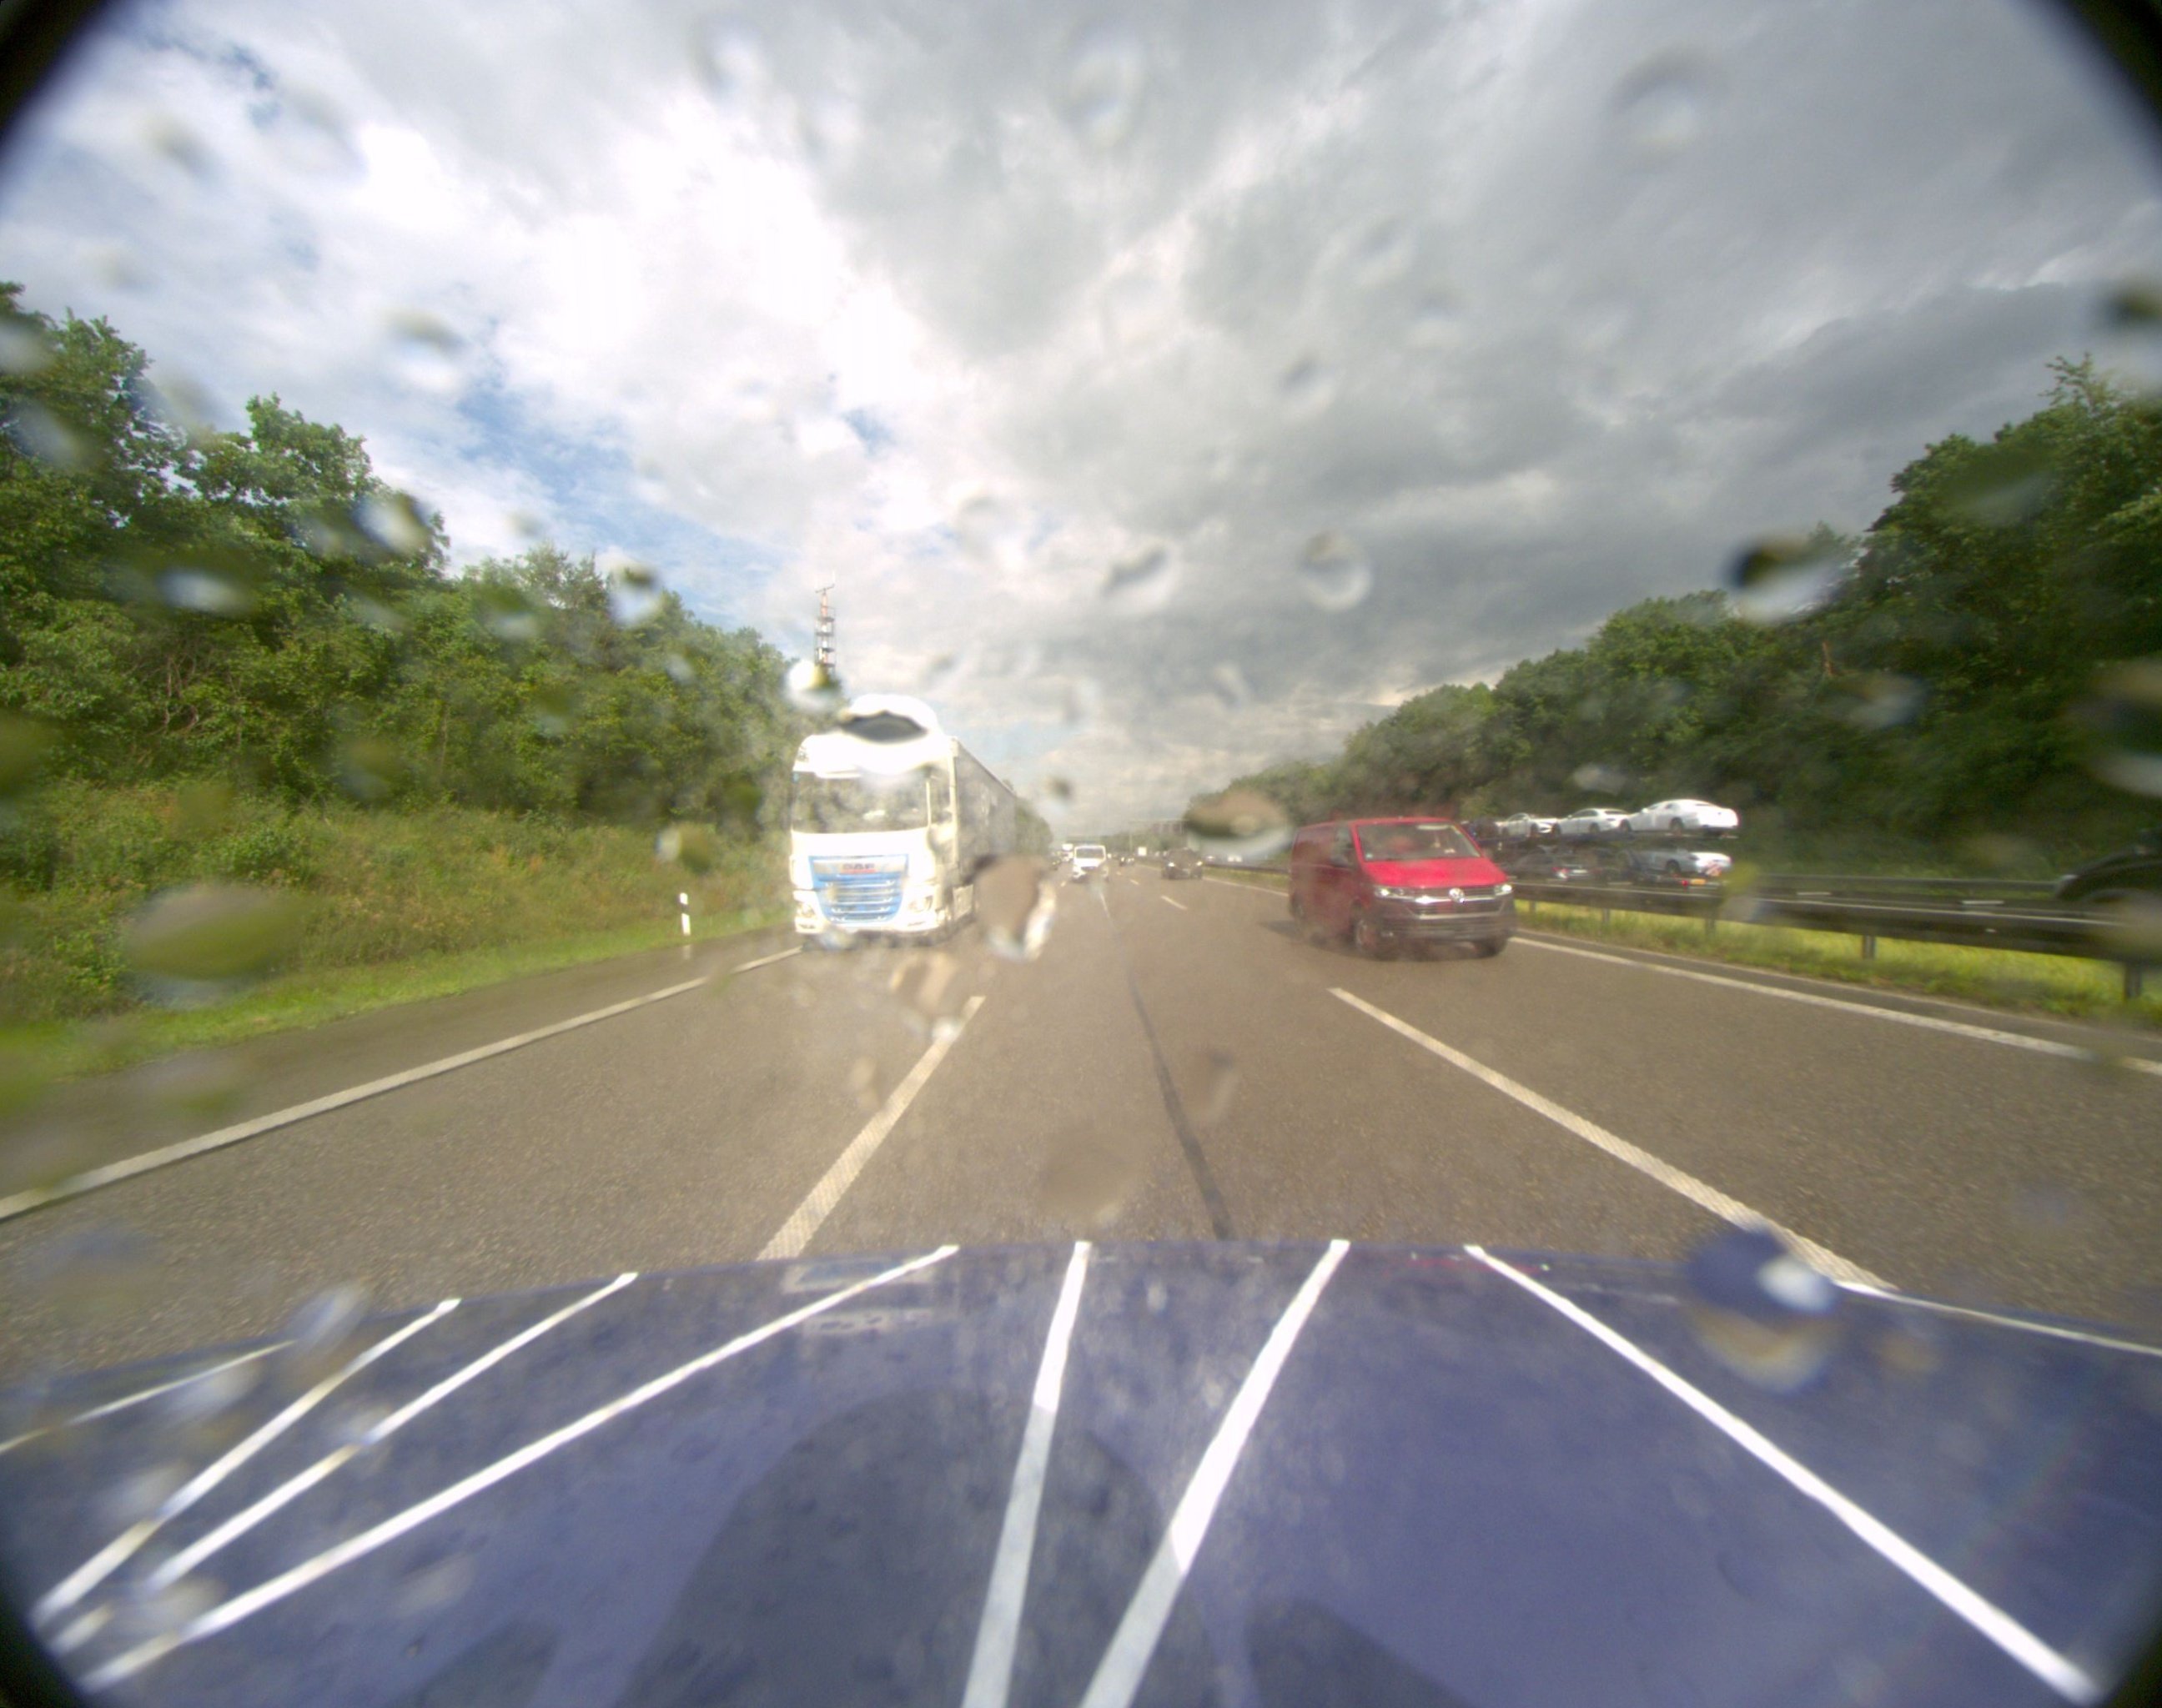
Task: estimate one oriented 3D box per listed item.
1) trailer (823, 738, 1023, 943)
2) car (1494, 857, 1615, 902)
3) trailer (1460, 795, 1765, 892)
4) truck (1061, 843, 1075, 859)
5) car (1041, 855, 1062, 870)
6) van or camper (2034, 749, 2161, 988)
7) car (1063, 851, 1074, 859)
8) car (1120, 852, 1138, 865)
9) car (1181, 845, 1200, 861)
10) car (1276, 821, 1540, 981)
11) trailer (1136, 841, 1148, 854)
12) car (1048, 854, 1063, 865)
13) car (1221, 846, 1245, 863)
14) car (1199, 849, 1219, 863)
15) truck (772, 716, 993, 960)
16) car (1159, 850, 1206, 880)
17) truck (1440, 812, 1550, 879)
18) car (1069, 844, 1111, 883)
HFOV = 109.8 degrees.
[{"bbox_3d":[-3.683,-0.328,22.120,2.641,3.972,14.063,-2,1,0],"label":"trailer"},{"bbox_3d":[18.174,0.932,29.464,1.822,1.490,4.528,-2,1,0],"label":"car"},{"bbox_3d":[26.246,-0.492,40.046,2.998,3.809,17.947,-3,0,-1],"label":"trailer"},{"bbox_3d":[-3.134,-0.633,184.647,3.064,3.827,8.799,-1,0,0],"label":"truck"},{"bbox_3d":[-3.006,0.835,78.114,1.799,1.410,4.838,-2,1,1],"label":"car"},{"bbox_3d":[13.986,0.153,6.826,2.268,2.853,6.839,-2,1,1],"label":"van or camper"},{"bbox_3d":[-2.325,0.225,141.256,1.799,1.410,4.838,-2,1,1],"label":"car"},{"bbox_3d":[5.674,0.525,90.358,1.799,1.410,4.838,-2,1,1],"label":"car"},{"bbox_3d":[19.718,-0.224,137.023,2.268,2.853,6.930,-2,1,0],"label":"car"},{"bbox_3d":[4.559,0.553,11.563,1.927,1.855,4.838,-2,1,1],"label":"car"},{"bbox_3d":[21.771,-2.188,270.727,2.870,4.347,14.090,-2,1,0],"label":"trailer"},{"bbox_3d":[-3.594,0.809,107.626,1.799,1.410,4.838,-2,1,1],"label":"car"},{"bbox_3d":[18.389,0.008,92.026,1.873,1.935,5.040,-2,1,0],"label":"car"},{"bbox_3d":[14.592,0.178,86.774,1.607,1.455,3.651,-2,1,0],"label":"car"},{"bbox_3d":[-3.730,-0.291,16.322,2.613,3.972,7.289,-2,1,0],"label":"truck"},{"bbox_3d":[5.595,0.577,42.541,2.009,1.488,4.838,-2,1,1],"label":"car"},{"bbox_3d":[26.007,-0.547,48.215,2.998,3.809,6.862,-3,1,-1],"label":"truck"},{"bbox_3d":[0.521,0.476,42.785,2.124,1.988,5.982,-2,1,1],"label":"car"}]
